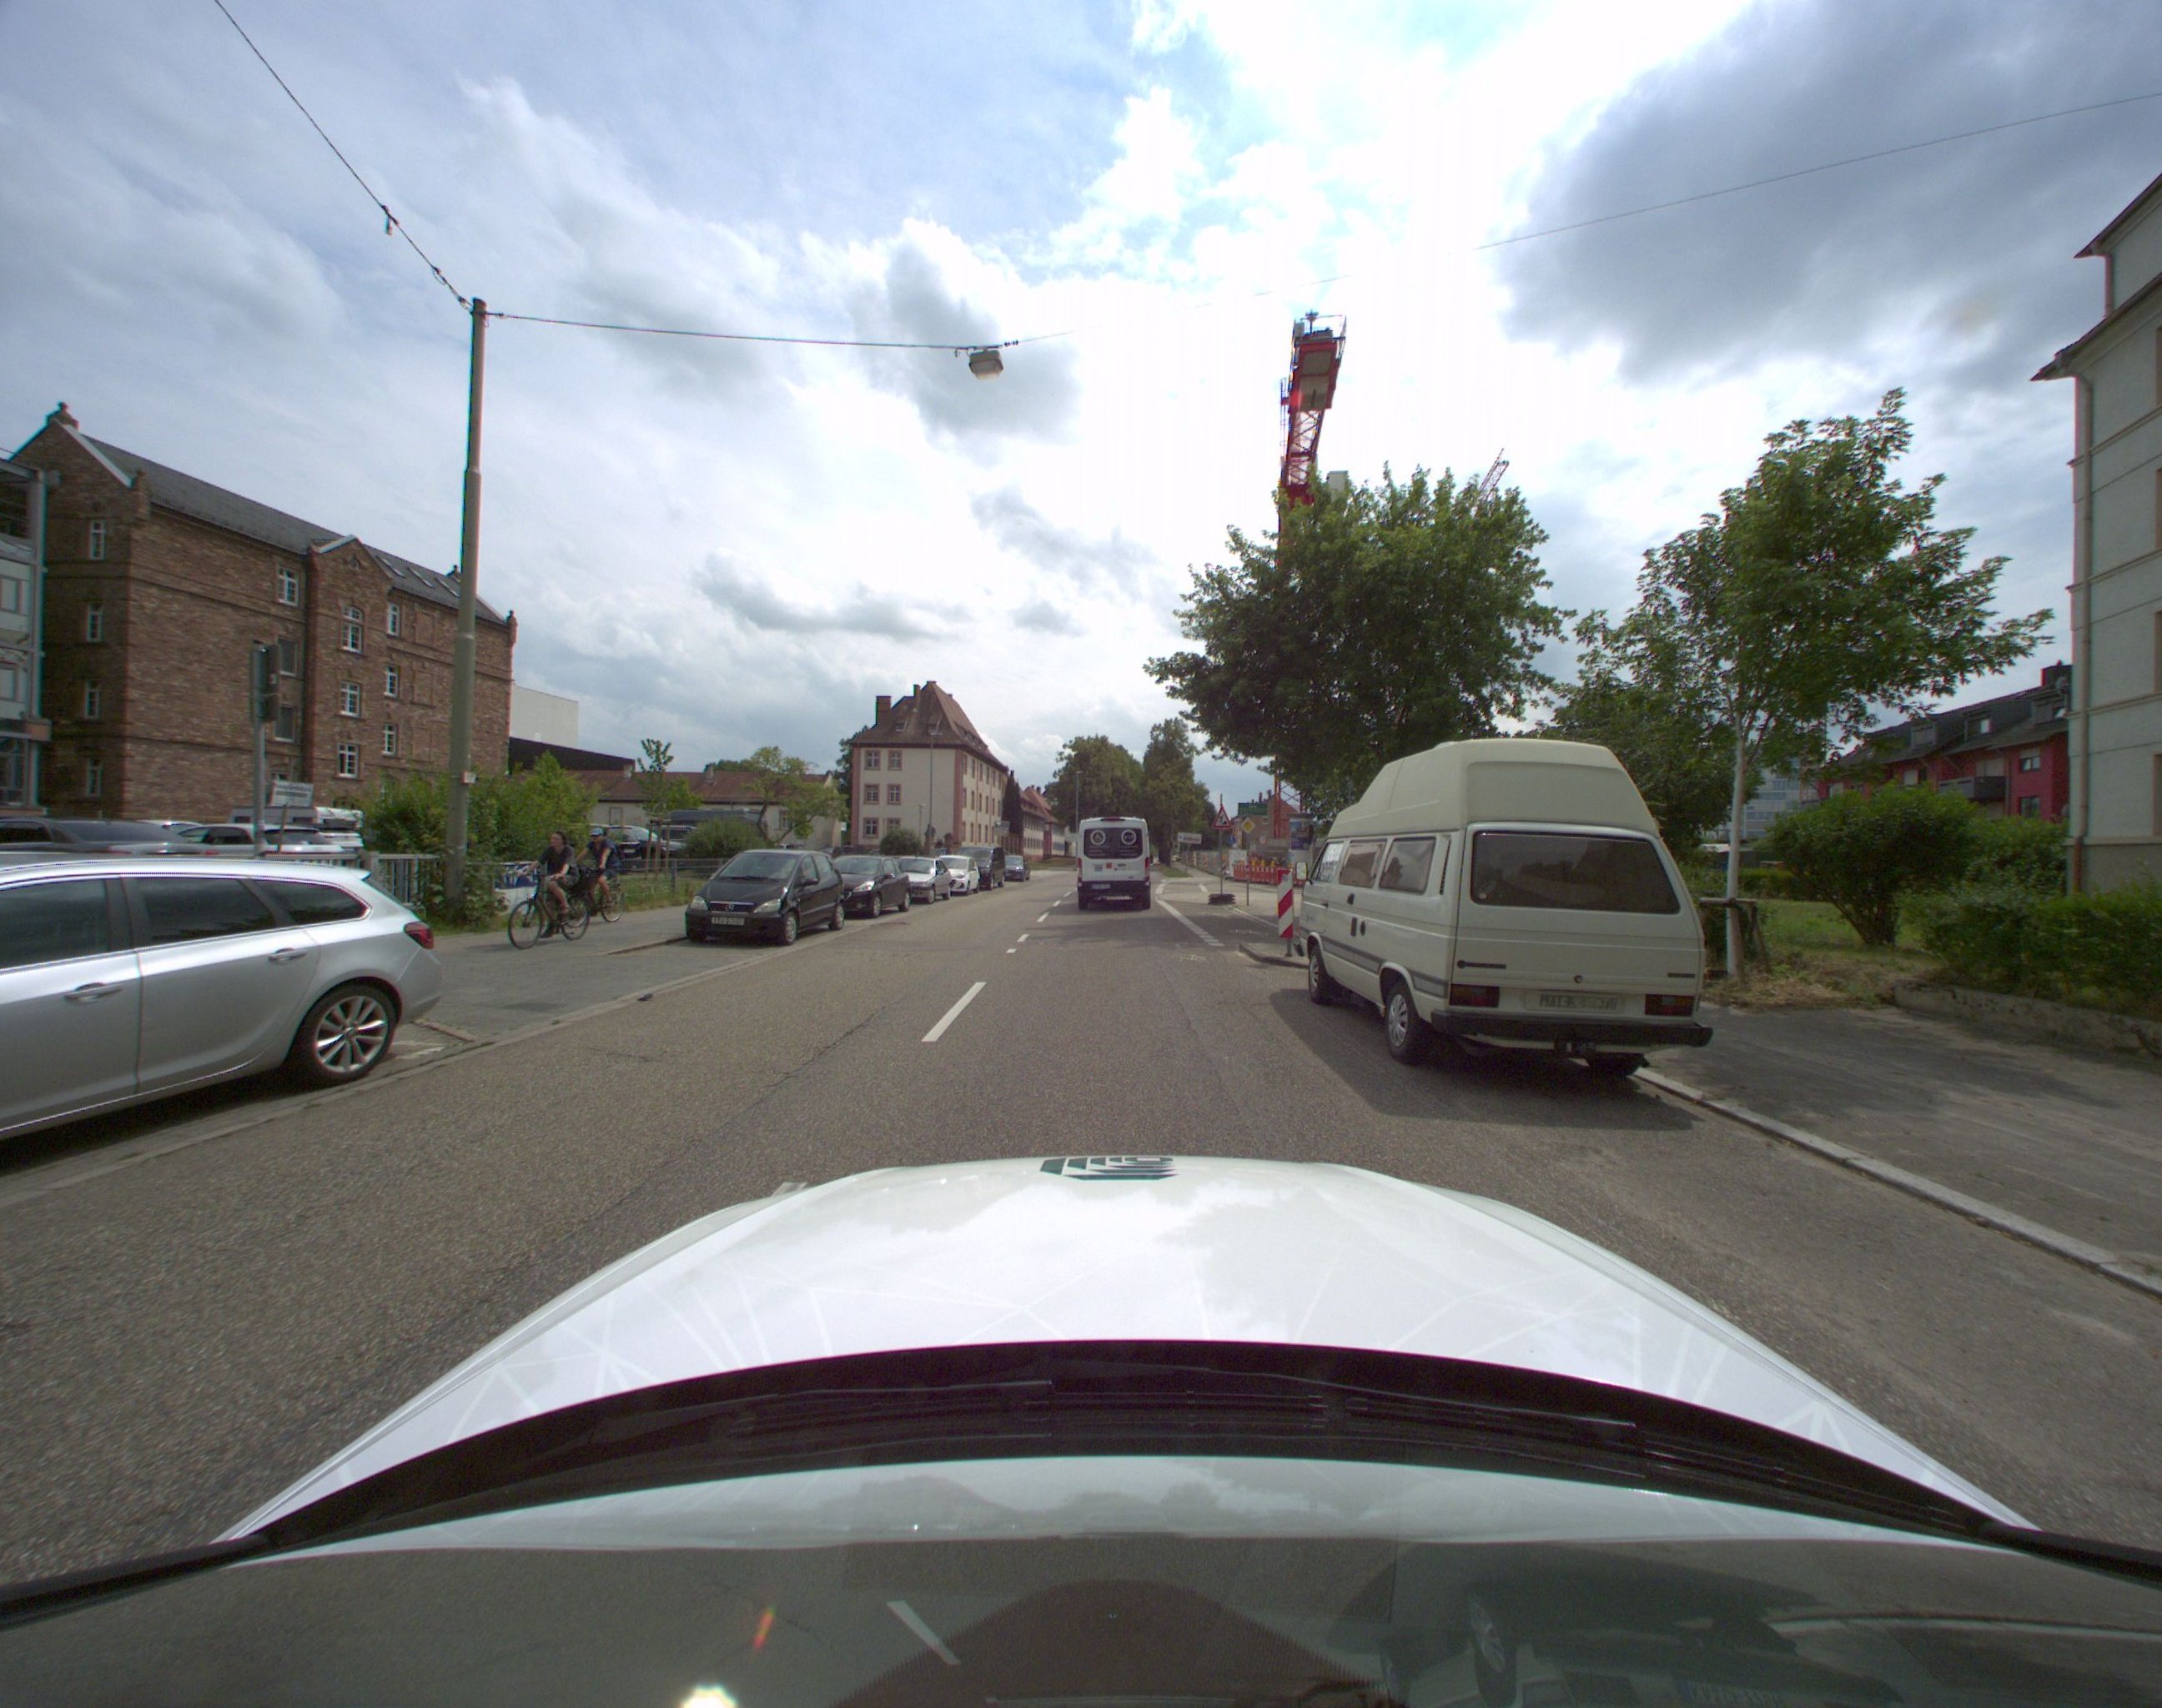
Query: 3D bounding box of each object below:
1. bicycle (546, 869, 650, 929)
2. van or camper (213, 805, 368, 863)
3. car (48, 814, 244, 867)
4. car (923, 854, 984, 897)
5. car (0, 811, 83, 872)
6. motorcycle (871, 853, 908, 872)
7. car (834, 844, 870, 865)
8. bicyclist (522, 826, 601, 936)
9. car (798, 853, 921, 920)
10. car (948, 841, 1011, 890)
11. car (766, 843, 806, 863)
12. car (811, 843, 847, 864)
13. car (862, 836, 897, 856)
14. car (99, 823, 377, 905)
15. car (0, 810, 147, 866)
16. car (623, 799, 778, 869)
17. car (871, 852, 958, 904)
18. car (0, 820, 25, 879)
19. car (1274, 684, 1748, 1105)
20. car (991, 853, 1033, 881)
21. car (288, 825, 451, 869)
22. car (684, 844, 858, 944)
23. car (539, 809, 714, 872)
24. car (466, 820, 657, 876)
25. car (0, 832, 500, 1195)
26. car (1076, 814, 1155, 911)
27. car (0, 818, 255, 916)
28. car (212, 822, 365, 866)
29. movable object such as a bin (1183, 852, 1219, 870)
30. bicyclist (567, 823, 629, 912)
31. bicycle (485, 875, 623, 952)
[{"bbox_3d":[-9.083,0.810,15.428,0.621,1.001,2.082,2,0,2],"label":"bicycle"},{"bbox_3d":[-38.209,-0.949,39.490,5.027,2.703,2.584,0,0,3],"label":"van or camper"},{"bbox_3d":[-29.176,-0.398,25.510,3.969,1.483,1.972,1,-1,4],"label":"car"},{"bbox_3d":[-4.966,0.795,32.159,1.647,1.529,3.767,2,0,2],"label":"car"},{"bbox_3d":[-40.069,-0.435,30.014,4.337,2.136,2.209,0,0,8],"label":"car"},{"bbox_3d":[-11.851,0.549,50.394,2.078,1.142,0.727,0,-1,8],"label":"motorcycle"},{"bbox_3d":[-20.860,0.003,74.396,1.758,1.710,3.966,1,2,6],"label":"car"},{"bbox_3d":[-7.903,0.404,12.425,0.612,1.608,0.766,2,-1,2],"label":"bicyclist"},{"bbox_3d":[-5.464,0.739,20.619,1.679,1.470,4.053,2,0,4],"label":"car"},{"bbox_3d":[-4.594,0.478,37.576,1.940,2.004,4.848,3,0,4],"label":"car"},{"bbox_3d":[-27.231,-0.109,75.281,1.758,1.710,4.299,1,2,6],"label":"car"},{"bbox_3d":[-23.210,-0.053,75.127,1.758,1.710,3.703,1,2,6],"label":"car"},{"bbox_3d":[-18.225,-0.769,73.853,1.758,1.710,3.966,1,2,6],"label":"car"},{"bbox_3d":[-17.162,0.184,16.684,3.962,1.483,2.005,1,-1,10],"label":"car"},{"bbox_3d":[-29.228,-0.443,22.860,3.969,1.483,1.860,1,-1,4],"label":"car"},{"bbox_3d":[-16.020,-0.821,34.478,5.285,2.552,2.358,3,0,6],"label":"car"},{"bbox_3d":[-5.206,0.701,25.992,1.680,1.457,4.266,1,0,2],"label":"car"},{"bbox_3d":[-29.211,-0.171,20.046,3.969,1.483,1.985,1,-1,4],"label":"car"},{"bbox_3d":[3.363,0.274,7.722,1.888,2.602,4.906,4,0,2],"label":"car"},{"bbox_3d":[-3.963,0.730,47.653,1.815,1.473,4.300,3,0,3],"label":"car"},{"bbox_3d":[-28.666,-0.271,32.918,4.668,1.664,2.334,1,0,6],"label":"car"},{"bbox_3d":[-5.506,0.646,15.025,1.616,1.575,4.000,1,0,0],"label":"car"},{"bbox_3d":[-16.095,-0.480,29.016,5.058,2.150,2.233,1,0,7],"label":"car"},{"bbox_3d":[-16.806,-0.203,26.490,5.058,1.673,2.005,1,0,7],"label":"car"},{"bbox_3d":[-5.676,0.701,4.229,1.779,1.563,4.555,3,1,3],"label":"car"},{"bbox_3d":[0.978,0.246,23.520,2.055,2.540,4.001,0,-1,2],"label":"car"},{"bbox_3d":[-16.846,0.183,13.814,3.962,1.483,2.005,1,-1,10],"label":"car"},{"bbox_3d":[-29.128,-0.345,30.002,4.136,1.483,1.618,1,-1,4],"label":"car"},{"bbox_3d":[17.563,1.084,119.116,4.644,2.590,3.148,-1,-1,19],"label":"movable object such as a bin"},{"bbox_3d":[-9.044,0.247,15.277,0.612,1.608,0.766,2,-1,2],"label":"bicyclist"},{"bbox_3d":[-7.930,0.853,12.390,0.621,1.001,2.082,2,0,2],"label":"bicycle"}]
